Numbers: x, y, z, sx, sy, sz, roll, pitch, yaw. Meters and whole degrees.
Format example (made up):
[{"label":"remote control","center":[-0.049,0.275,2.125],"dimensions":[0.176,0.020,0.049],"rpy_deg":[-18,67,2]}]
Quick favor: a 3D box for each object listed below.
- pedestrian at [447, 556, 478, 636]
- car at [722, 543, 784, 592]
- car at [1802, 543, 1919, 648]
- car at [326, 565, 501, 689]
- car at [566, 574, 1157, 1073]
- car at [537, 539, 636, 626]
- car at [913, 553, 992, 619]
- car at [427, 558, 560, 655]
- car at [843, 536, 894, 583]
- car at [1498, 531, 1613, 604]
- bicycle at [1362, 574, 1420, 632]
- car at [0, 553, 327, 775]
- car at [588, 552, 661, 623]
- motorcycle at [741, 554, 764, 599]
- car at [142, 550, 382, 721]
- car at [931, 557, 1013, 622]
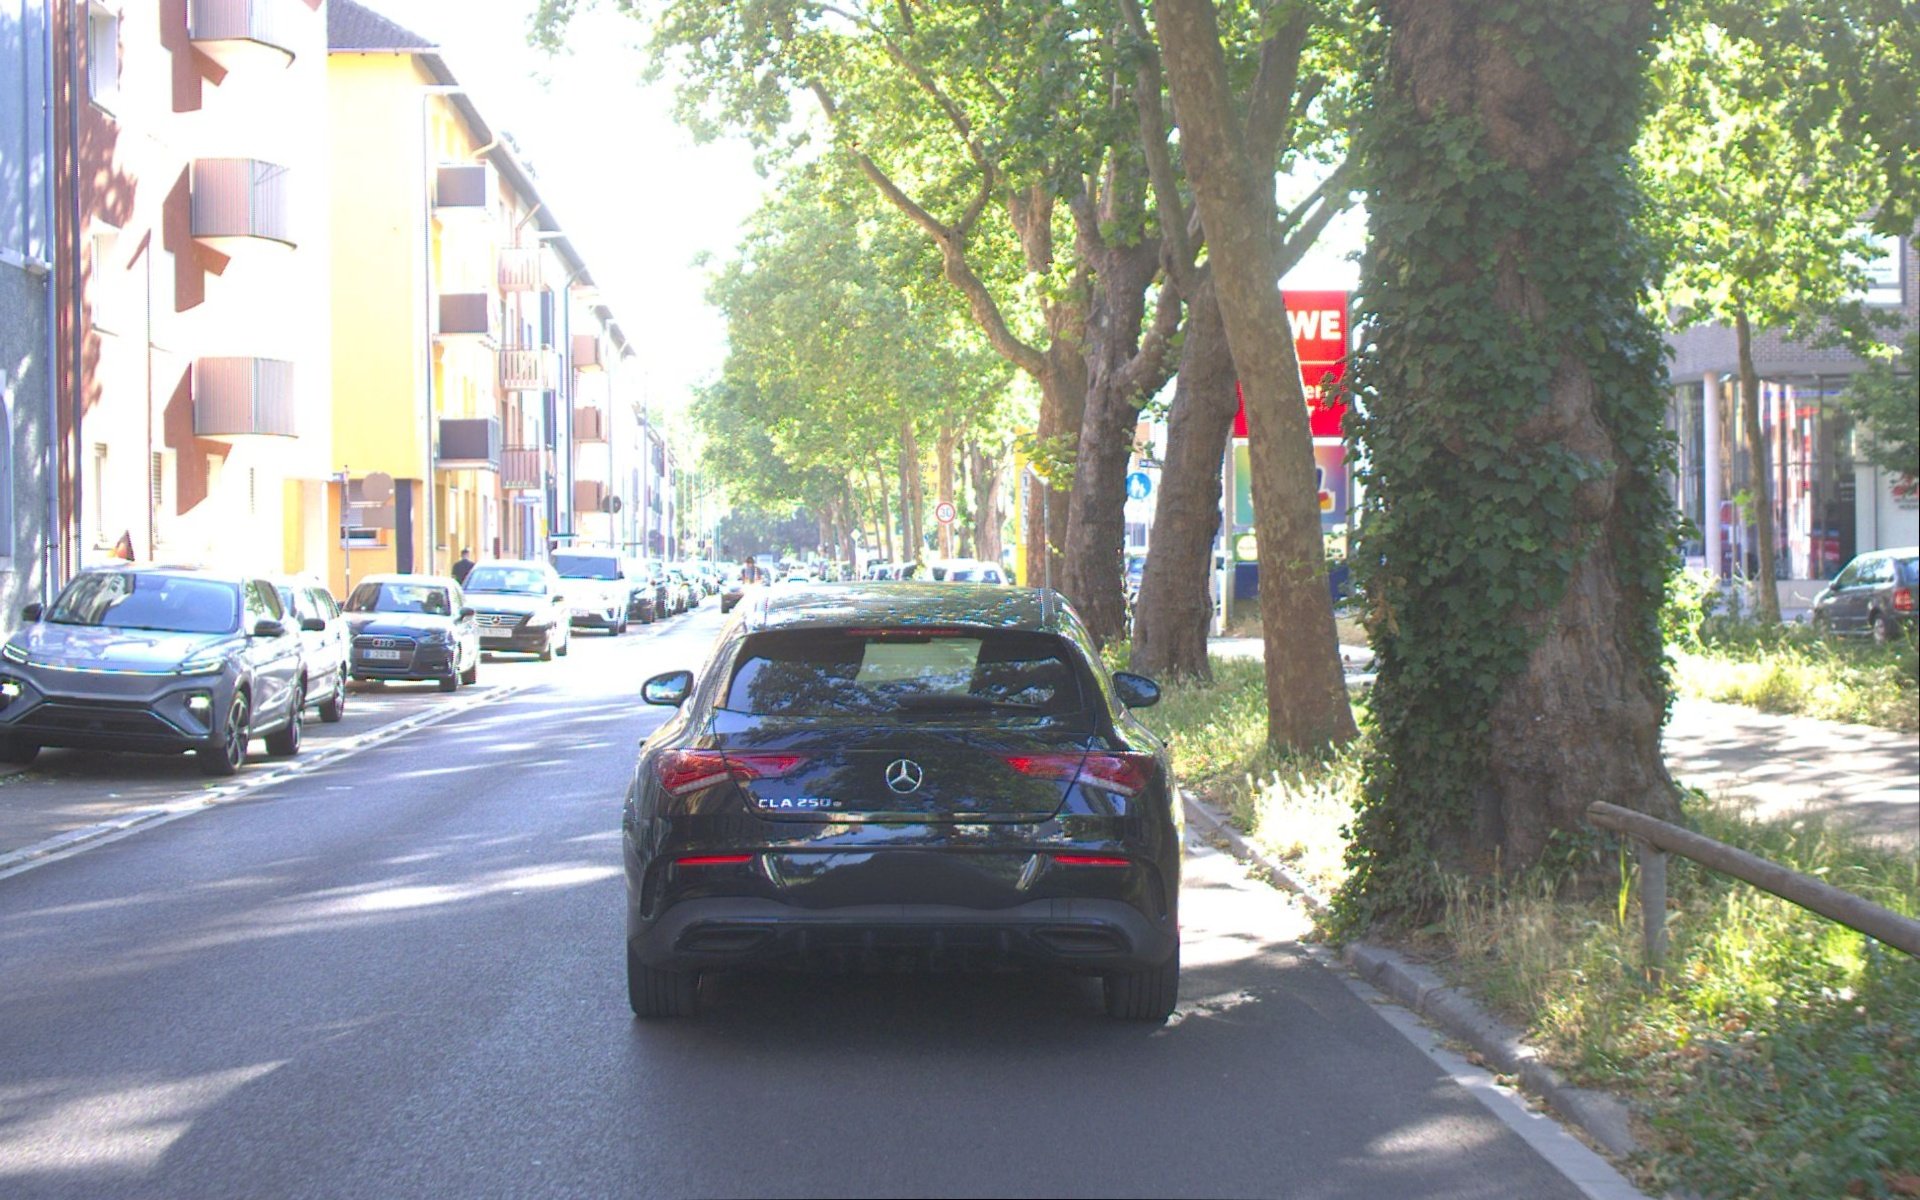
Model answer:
[{"label":"pedestrian","center":[-11.282,-0.096,78.021],"dimensions":[0.587,1.784,0.642],"rpy_deg":[-1,1,-1]},{"label":"car","center":[-6.553,-1.045,109.161],"dimensions":[1.771,1.473,4.322],"rpy_deg":[-2,1,-2]},{"label":"car","center":[13.941,-0.101,50.568],"dimensions":[1.859,1.463,4.124],"rpy_deg":[-1,1,-4]},{"label":"car","center":[-6.947,0.308,43.980],"dimensions":[1.678,1.481,3.601],"rpy_deg":[1,1,-1]},{"label":"car","center":[-0.252,0.652,12.267],"dimensions":[1.744,1.438,3.969],"rpy_deg":[1,1,1]},{"label":"car","center":[-8.373,-0.416,77.411],"dimensions":[1.734,1.900,5.209],"rpy_deg":[0,1,-1]},{"label":"car","center":[-0.217,-0.356,88.542],"dimensions":[1.810,1.533,4.583],"rpy_deg":[-3,0,-2]},{"label":"car","center":[-7.708,0.083,57.106],"dimensions":[1.678,1.518,4.021],"rpy_deg":[1,1,-1]},{"label":"car","center":[-4.135,-1.816,154.570],"dimensions":[1.993,2.007,4.000],"rpy_deg":[0,-1,-6]},{"label":"car","center":[14.676,-0.817,84.929],"dimensions":[1.985,1.727,4.181],"rpy_deg":[-1,1,-2]},{"label":"bicycle","center":[7.552,0.042,60.260],"dimensions":[0.382,1.000,1.487],"rpy_deg":[-1,1,-18]},{"label":"car","center":[-6.532,0.449,28.071],"dimensions":[1.908,1.636,4.577],"rpy_deg":[1,1,-1]},{"label":"car","center":[-8.777,-0.356,90.206],"dimensions":[1.745,1.781,4.550],"rpy_deg":[1,1,-4]},{"label":"motorcycle","center":[-5.815,-0.657,96.510],"dimensions":[0.547,1.237,2.264],"rpy_deg":[-3,0,-2]},{"label":"car","center":[-7.110,0.317,35.360],"dimensions":[1.678,1.636,3.985],"rpy_deg":[1,1,-1]},{"label":"car","center":[0.268,-0.246,81.721],"dimensions":[1.634,1.463,4.022],"rpy_deg":[-2,0,-4]}]
